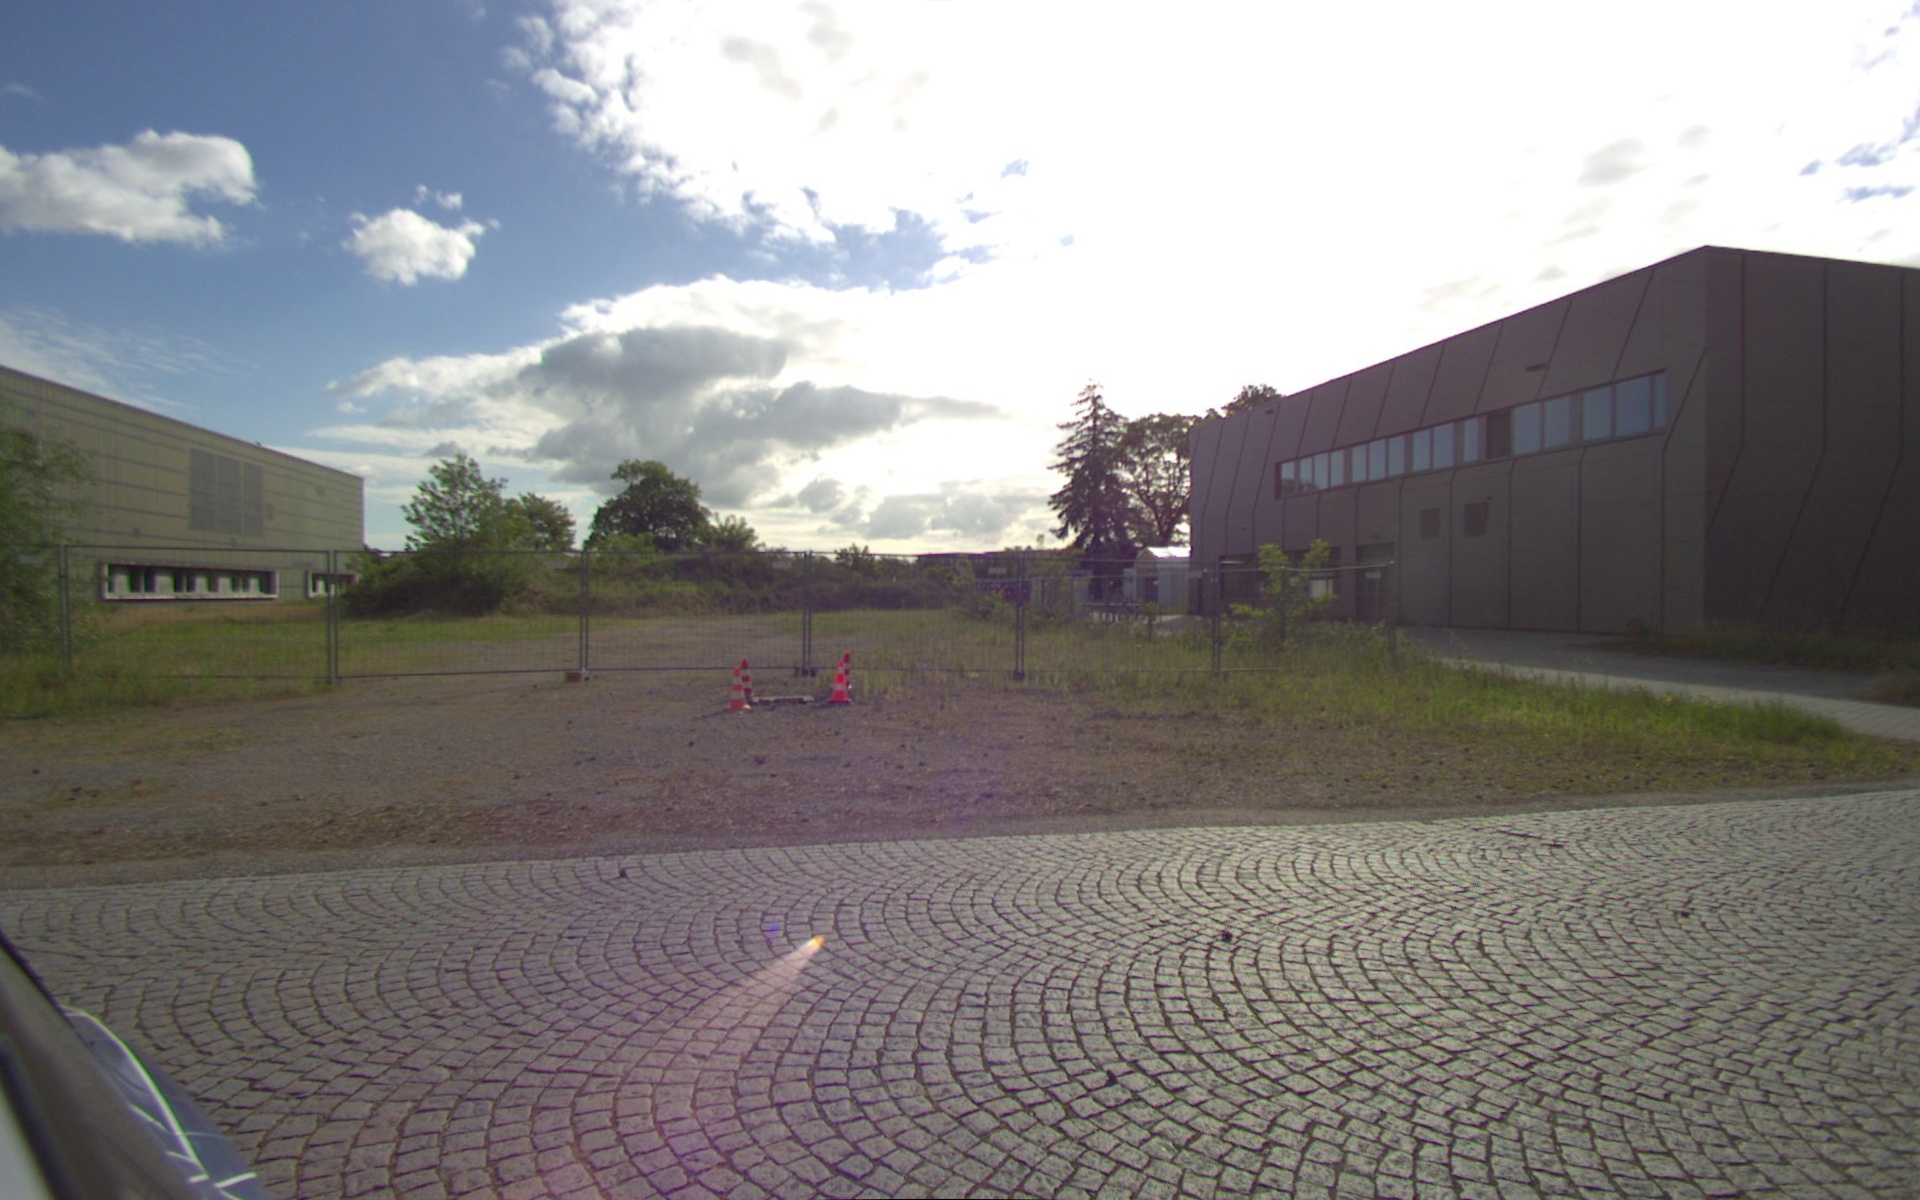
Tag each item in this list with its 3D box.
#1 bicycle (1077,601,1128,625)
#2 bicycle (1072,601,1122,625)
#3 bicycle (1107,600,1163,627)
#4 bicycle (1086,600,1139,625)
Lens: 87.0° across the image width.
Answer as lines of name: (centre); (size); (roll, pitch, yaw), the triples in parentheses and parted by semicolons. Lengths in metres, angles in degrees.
bicycle: (6.350, 0.564, 45.069); (2.034, 1.052, 0.948); (0, 0, -14)
bicycle: (6.244, 0.577, 46.088); (2.034, 1.052, 0.948); (0, 0, -14)
bicycle: (7.216, 0.539, 41.789); (2.034, 1.095, 0.948); (0, 0, -14)
bicycle: (6.616, 0.547, 43.977); (2.034, 1.052, 0.948); (0, 0, -14)
